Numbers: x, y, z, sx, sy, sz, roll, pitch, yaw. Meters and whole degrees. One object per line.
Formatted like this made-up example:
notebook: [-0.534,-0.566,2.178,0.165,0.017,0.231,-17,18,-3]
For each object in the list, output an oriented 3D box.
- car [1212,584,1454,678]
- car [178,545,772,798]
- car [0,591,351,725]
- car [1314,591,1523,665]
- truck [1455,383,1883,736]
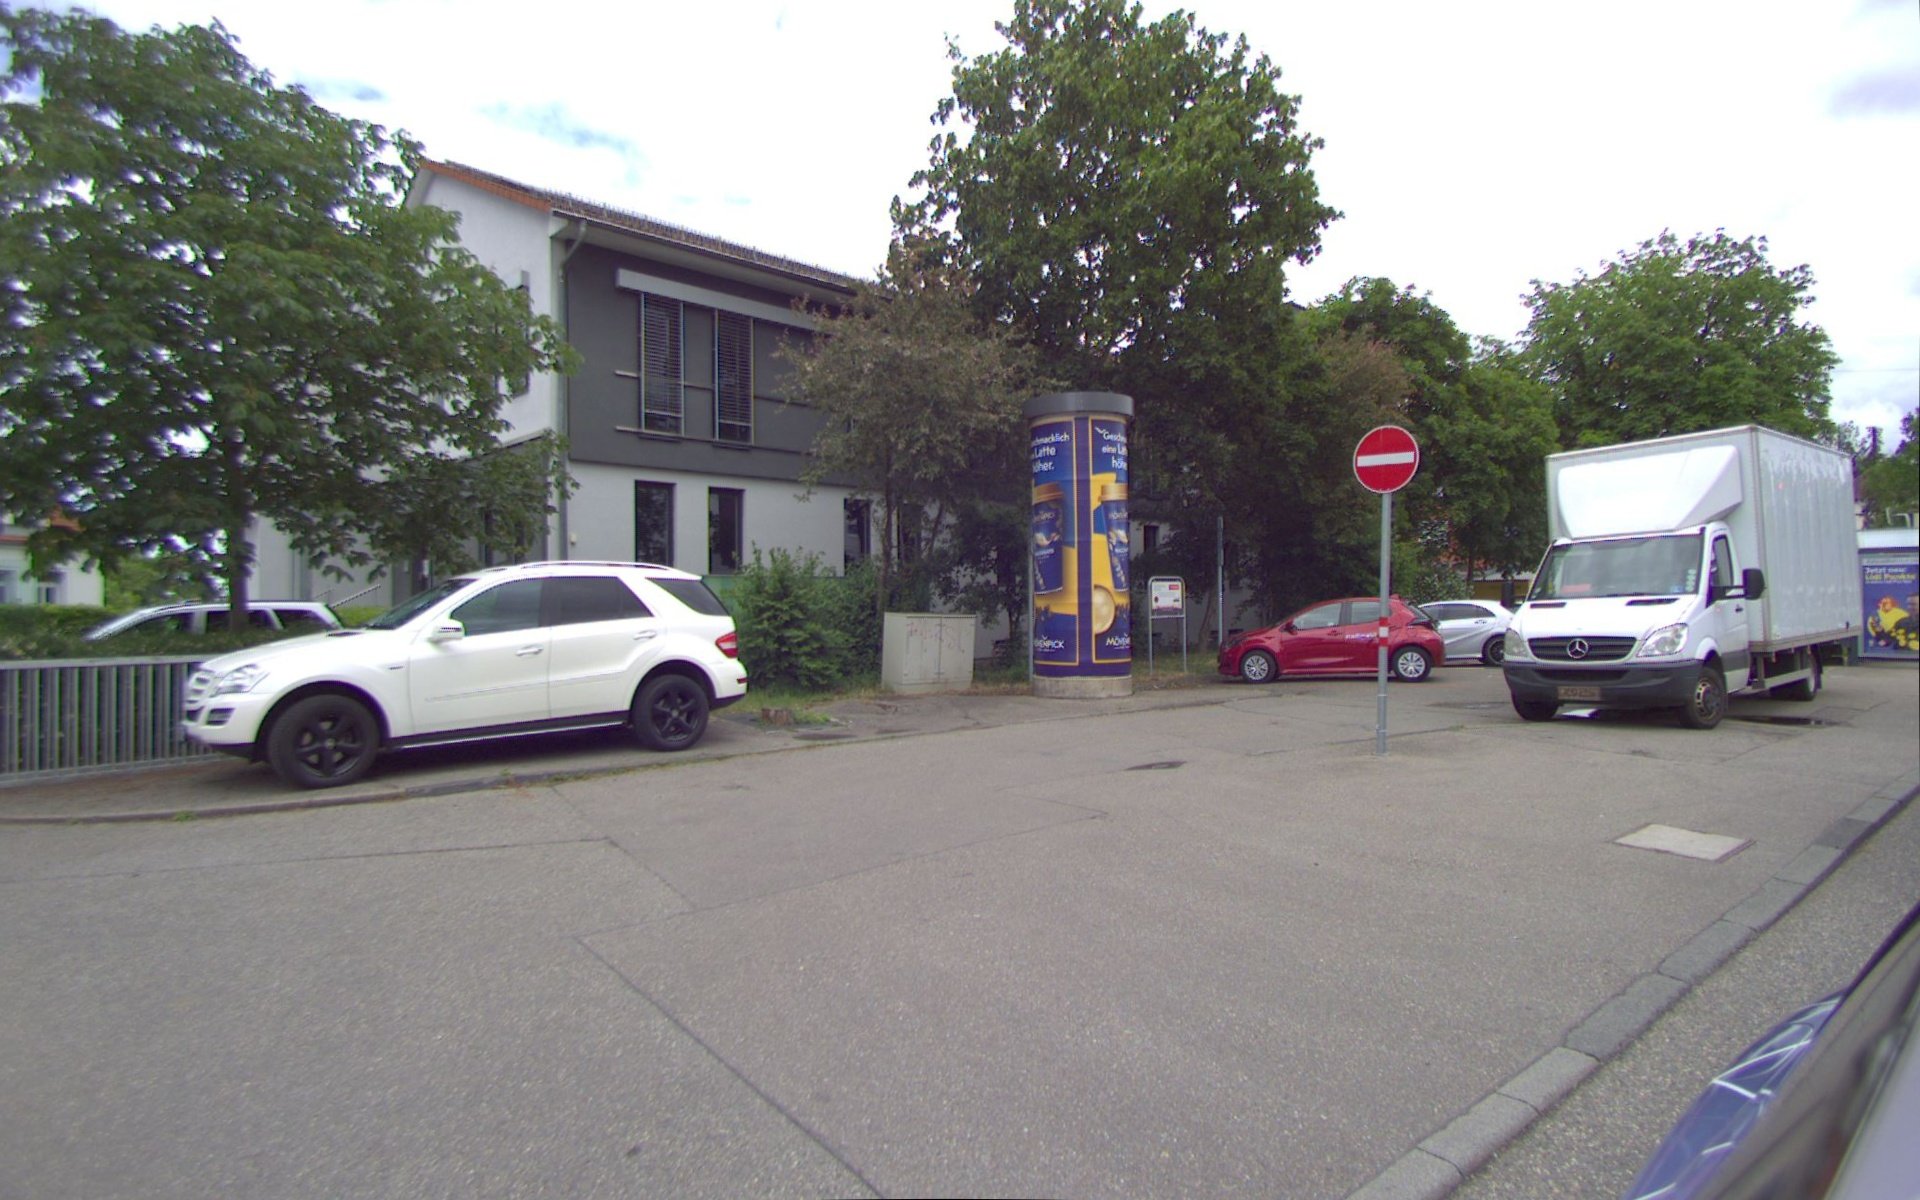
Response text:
car: [6.663,0.566,18.159,3.858,1.502,1.668,-3,-1,26]
car: [-4.246,0.480,9.329,4.639,1.780,1.855,-1,0,-40]
car: [-10.952,0.697,13.893,1.615,1.502,4.153,0,2,43]
car: [9.835,0.601,22.032,3.948,1.428,1.515,-3,-1,19]
truck: [9.635,-0.473,13.337,7.636,3.469,2.540,-1,0,-39]
